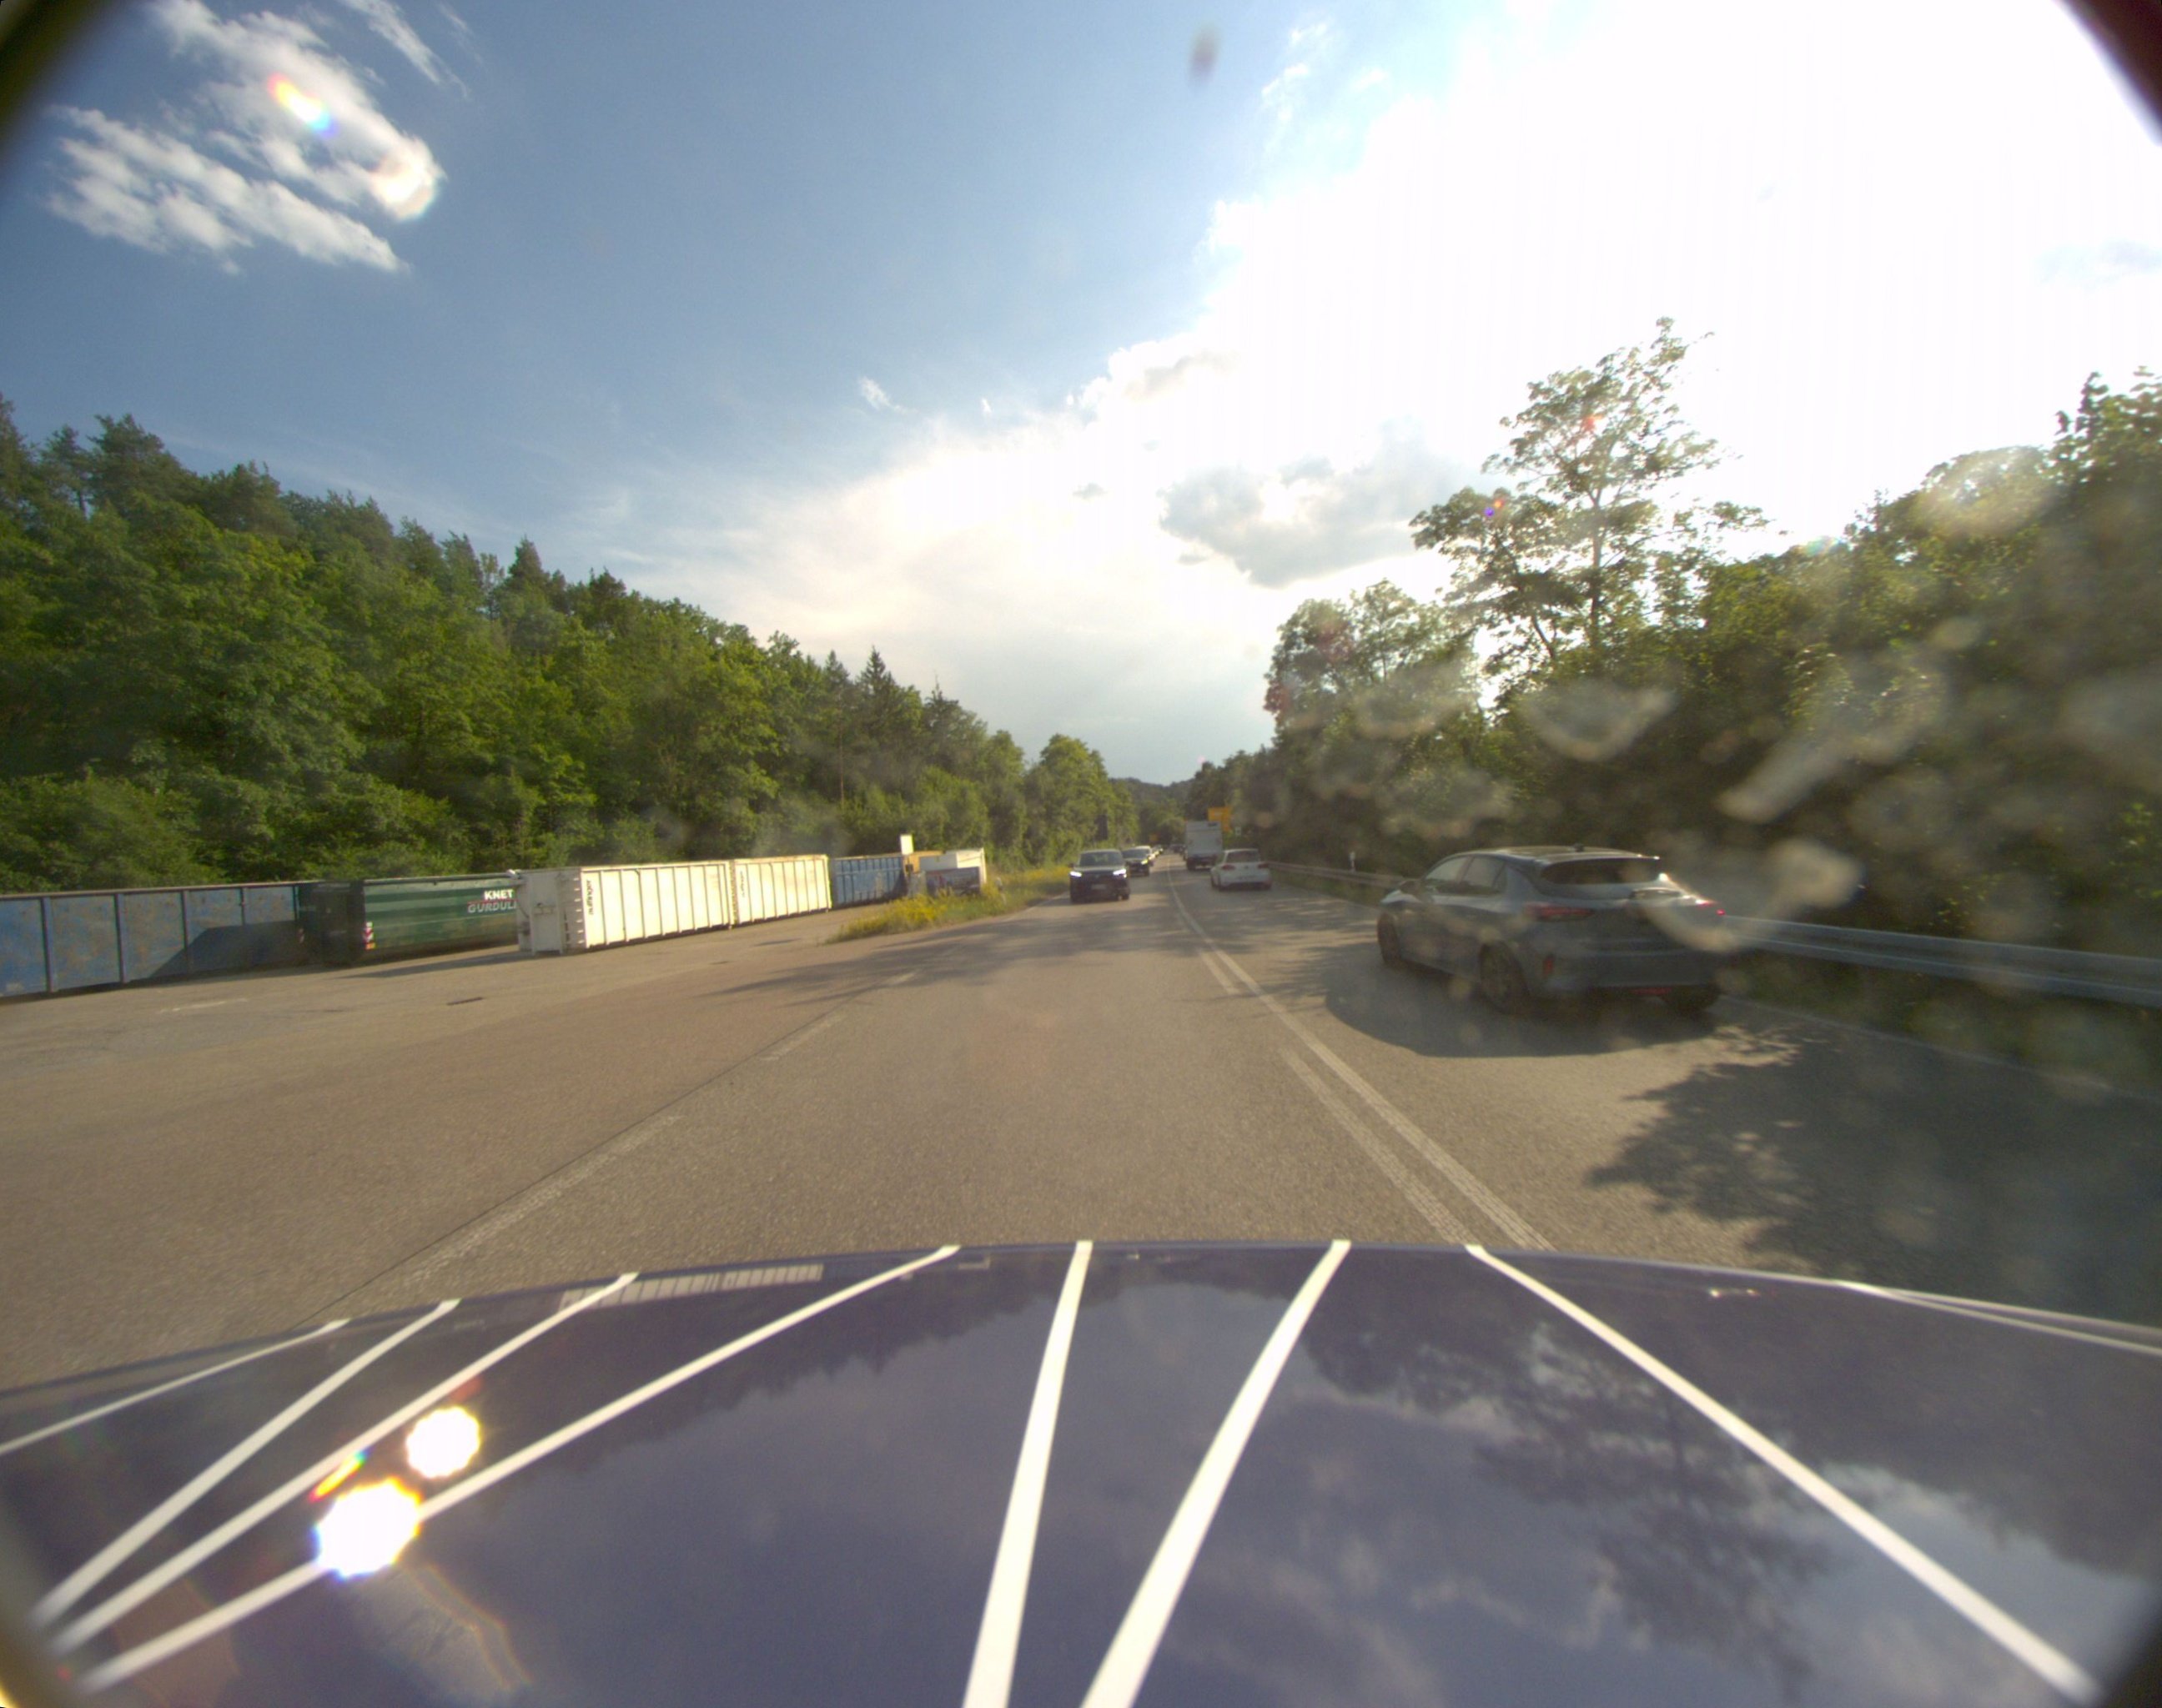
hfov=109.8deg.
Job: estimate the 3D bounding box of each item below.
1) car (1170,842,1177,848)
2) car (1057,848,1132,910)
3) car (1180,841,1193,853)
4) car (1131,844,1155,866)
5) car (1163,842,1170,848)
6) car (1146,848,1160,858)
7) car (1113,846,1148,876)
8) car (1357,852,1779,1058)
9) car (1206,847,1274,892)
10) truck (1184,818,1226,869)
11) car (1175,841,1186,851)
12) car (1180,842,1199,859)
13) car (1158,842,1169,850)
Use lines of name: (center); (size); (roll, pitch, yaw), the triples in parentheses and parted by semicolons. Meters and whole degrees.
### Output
car: (24.861, -2.455, 204.864); (1.796, 1.623, 4.258); (-4, 1, 6)
car: (0.530, 0.702, 23.911); (1.858, 1.630, 4.442); (-4, 1, 7)
car: (15.945, -1.092, 115.195); (1.796, 1.623, 4.259); (-2, 0, 6)
car: (5.571, 0.068, 67.709); (1.867, 1.710, 4.765); (-4, 0, 7)
car: (25.152, -2.535, 223.537); (1.796, 1.623, 4.258); (-4, 1, 6)
car: (10.665, -0.155, 112.646); (1.858, 1.412, 4.421); (-4, 0, 8)
car: (2.957, 0.370, 44.466); (1.848, 1.560, 4.258); (-2, 0, 5)
car: (4.294, 0.736, 7.543); (1.664, 1.437, 3.921); (-2, 0, 1)
car: (5.585, 0.498, 27.088); (1.796, 1.437, 3.794); (-2, 1, 3)
truck: (8.008, -0.675, 49.301); (2.460, 3.055, 6.267); (-2, 1, 8)
car: (17.547, -1.418, 134.089); (1.796, 1.623, 4.259); (-2, 0, 6)
car: (11.386, -0.405, 79.751); (1.796, 1.623, 4.259); (-2, 0, 6)
car: (15.641, -1.450, 143.702); (1.895, 1.437, 4.477); (-2, 0, 7)
